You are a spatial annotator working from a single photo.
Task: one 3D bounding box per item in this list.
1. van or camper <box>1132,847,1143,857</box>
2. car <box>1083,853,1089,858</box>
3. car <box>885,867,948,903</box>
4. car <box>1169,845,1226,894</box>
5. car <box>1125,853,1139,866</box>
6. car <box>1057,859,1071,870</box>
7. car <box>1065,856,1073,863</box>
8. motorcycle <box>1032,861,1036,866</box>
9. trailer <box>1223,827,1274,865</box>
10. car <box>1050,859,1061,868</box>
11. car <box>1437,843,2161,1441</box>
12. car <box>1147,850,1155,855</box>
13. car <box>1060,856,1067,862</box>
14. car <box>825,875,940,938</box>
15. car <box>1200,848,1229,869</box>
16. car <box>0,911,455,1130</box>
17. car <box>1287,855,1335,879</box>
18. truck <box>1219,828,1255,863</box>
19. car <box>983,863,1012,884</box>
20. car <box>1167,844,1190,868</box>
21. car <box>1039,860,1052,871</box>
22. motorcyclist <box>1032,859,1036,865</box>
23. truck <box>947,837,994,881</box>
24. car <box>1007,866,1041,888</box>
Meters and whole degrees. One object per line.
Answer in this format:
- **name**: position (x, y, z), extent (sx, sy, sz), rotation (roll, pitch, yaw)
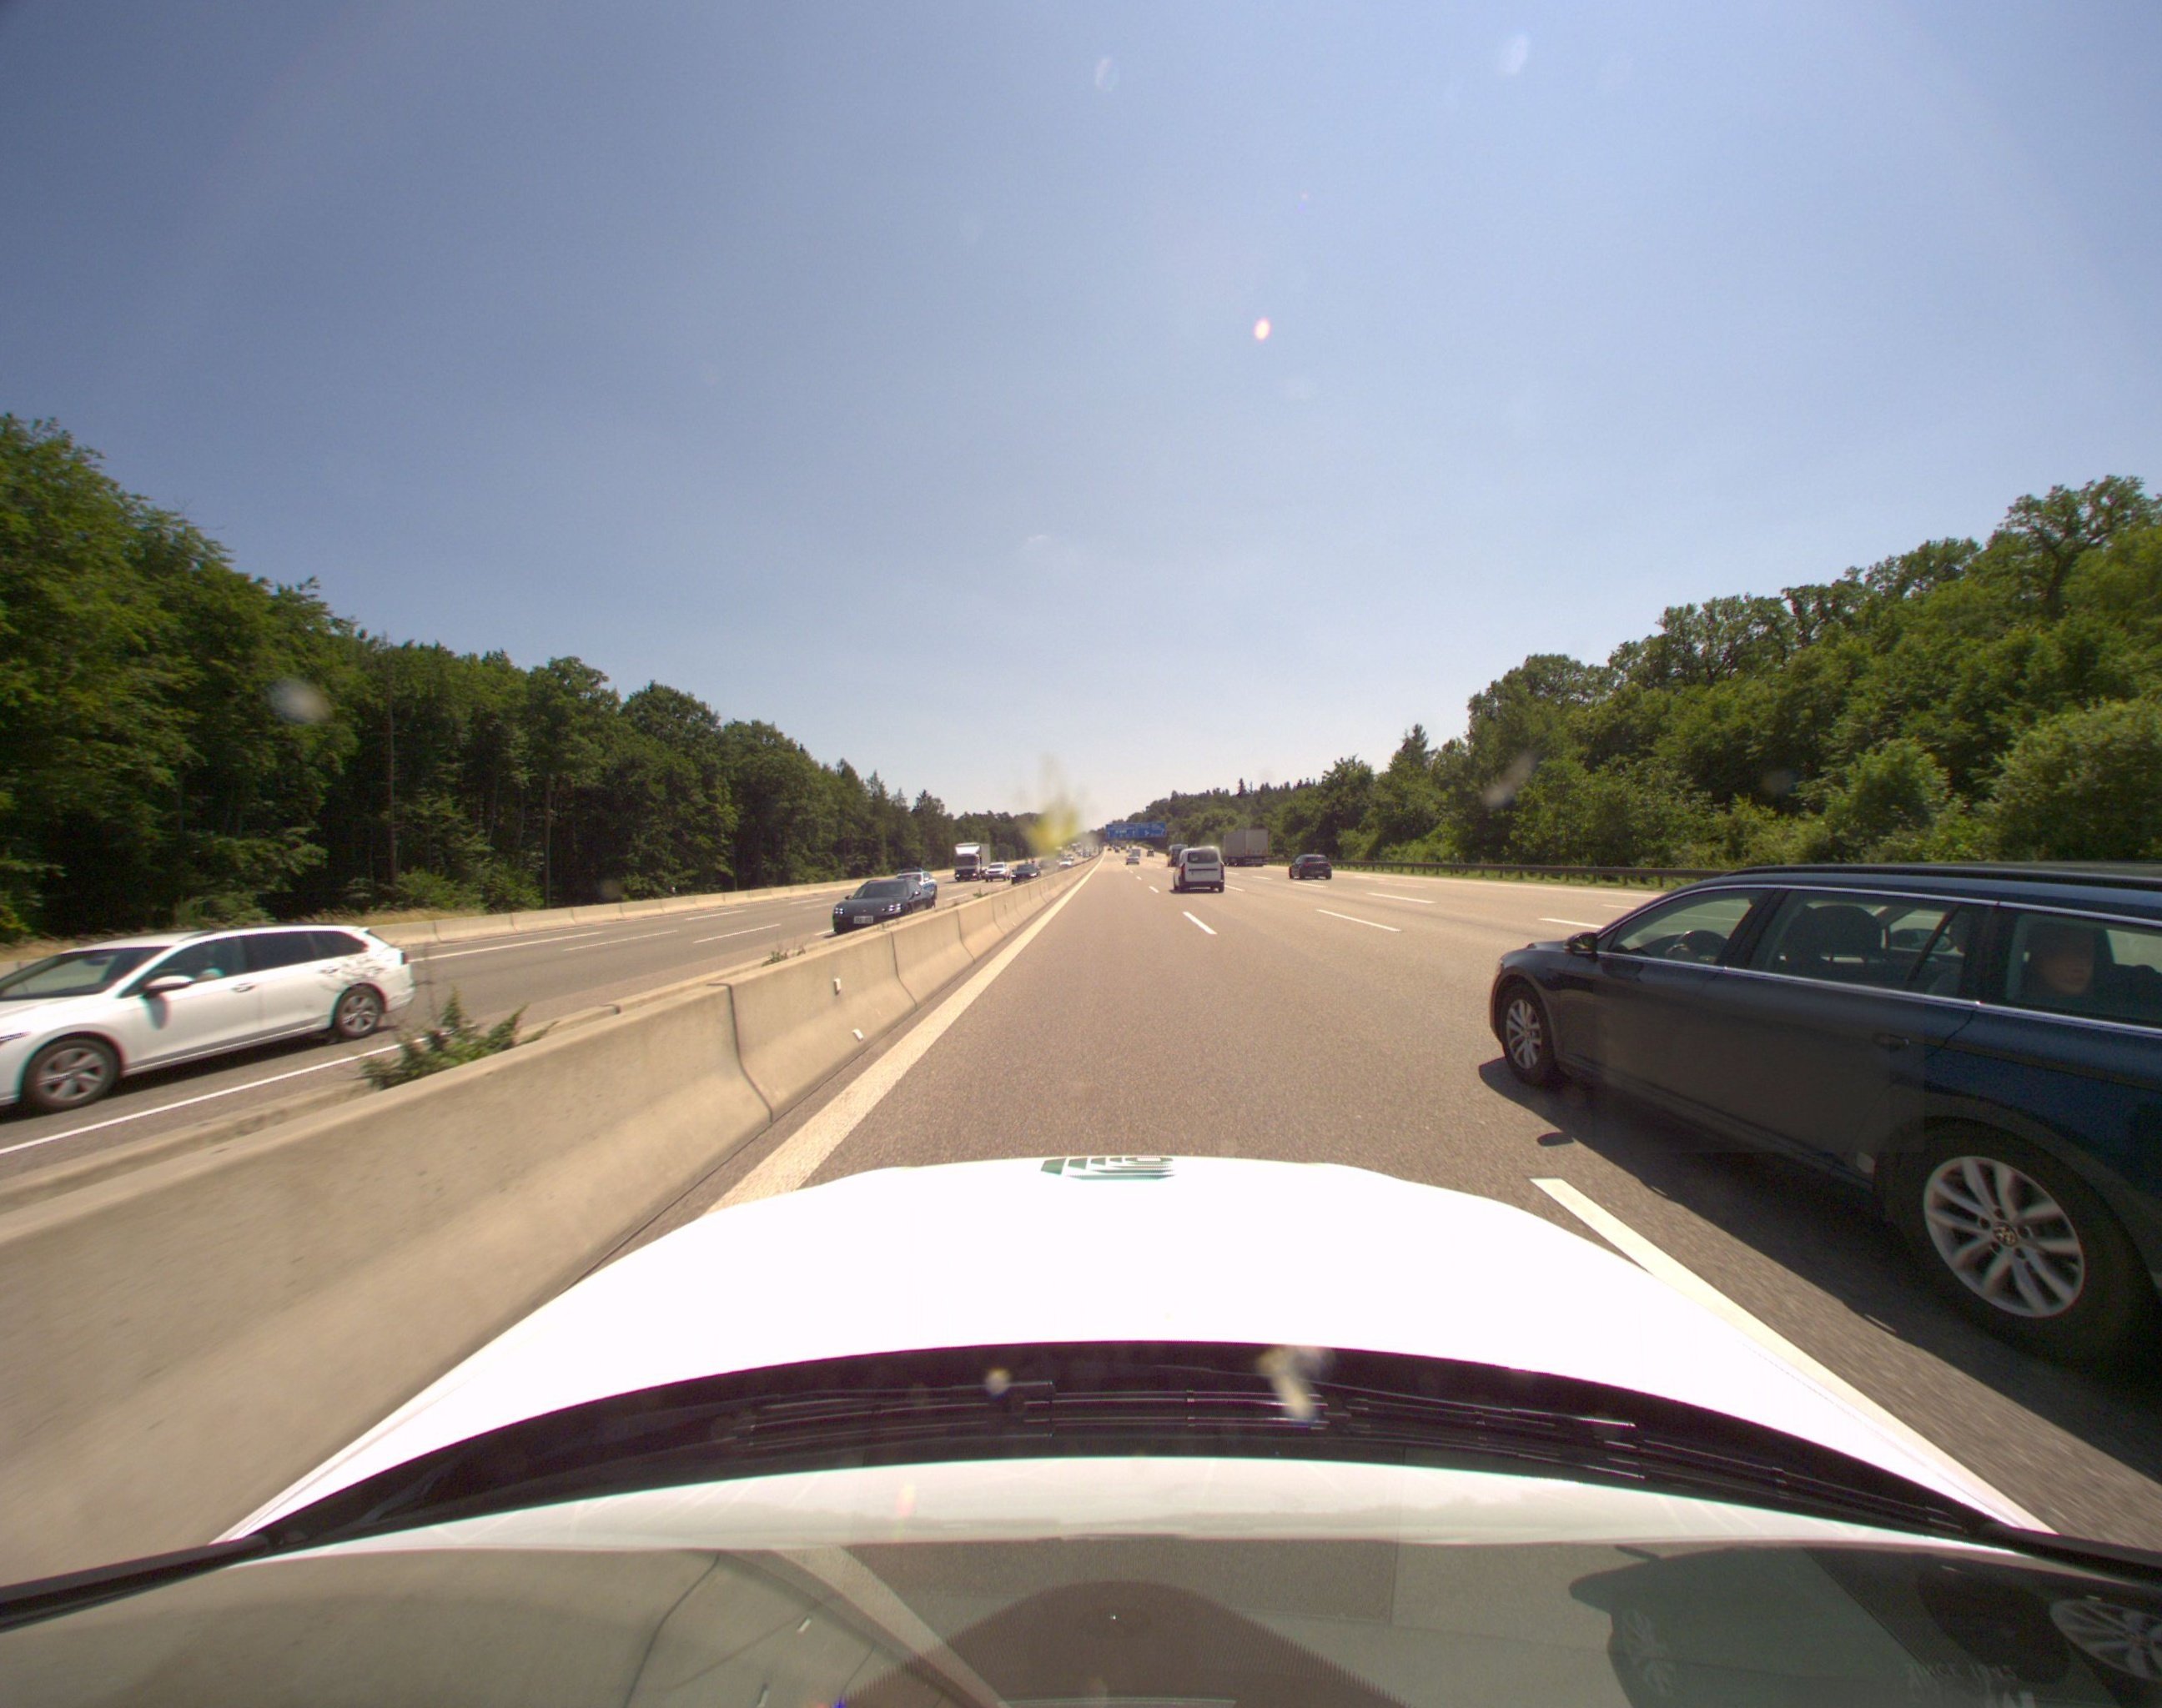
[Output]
- **van or camper**: position (15.474, -0.593, 223.791), extent (2.635, 2.539, 6.505), rotation (-3, 0, 2)
- **car**: position (1.574, 0.522, 249.460), extent (1.745, 1.377, 4.493), rotation (-1, 0, 2)
- **car**: position (-8.309, 1.545, 41.703), extent (1.906, 1.512, 5.234), rotation (-4, 0, 2)
- **car**: position (4.822, 0.628, 34.233), extent (1.852, 1.826, 4.615), rotation (-3, 0, 3)
- **car**: position (7.281, 0.788, 117.318), extent (1.836, 1.629, 4.556), rotation (-3, -1, 3)
- **car**: position (-2.481, 1.475, 118.182), extent (1.818, 1.394, 4.464), rotation (-3, 0, 0)
- **car**: position (-2.963, 1.417, 205.564), extent (1.964, 1.724, 4.508), rotation (0, 0, 0)
- **motorcycle**: position (-10.917, 2.190, 189.281), extent (0.735, 1.214, 2.351), rotation (-3, -1, 2)
- **trailer**: position (18.671, -0.881, 91.855), extent (3.275, 3.930, 13.895), rotation (-1, 1, 1)
- **car**: position (-4.543, 1.672, 146.112), extent (1.566, 1.511, 4.031), rotation (-3, 0, 1)
- **car**: position (3.593, 0.699, 3.978), extent (1.722, 1.447, 4.964), rotation (-1, 0, 3)
- **car**: position (19.007, -0.396, 221.461), extent (1.828, 1.338, 3.644), rotation (-3, -1, 2)
- **car**: position (-5.303, 1.374, 244.096), extent (1.964, 1.724, 4.508), rotation (1, 0, 0)
- **car**: position (-5.420, 1.380, 22.859), extent (1.906, 1.464, 4.589), rotation (-3, -1, 2)
- **car**: position (9.872, 0.346, 60.547), extent (1.498, 1.500, 3.649), rotation (-3, -1, 0)
- **car**: position (-9.519, 1.538, 8.707), extent (1.754, 1.464, 4.841), rotation (-3, 0, 2)
- **car**: position (13.149, 0.738, 46.748), extent (1.664, 1.273, 4.292), rotation (-1, -1, 2)
- **truck**: position (18.831, -1.044, 98.595), extent (3.242, 4.106, 5.990), rotation (-1, 0, 2)
- **car**: position (-7.335, 1.673, 72.074), extent (1.906, 1.661, 4.691), rotation (-3, 0, 2)
- **car**: position (11.213, 0.192, 94.404), extent (2.135, 2.652, 5.712), rotation (-2, 0, 2)
- **car**: position (-5.250, 1.719, 121.446), extent (1.697, 1.427, 4.612), rotation (-3, 0, 0)
- **motorcyclist**: position (-10.966, 1.866, 189.390), extent (0.757, 1.301, 1.078), rotation (-3, 0, 2)
- **truck**: position (-10.850, 0.519, 80.900), extent (2.847, 4.013, 9.472), rotation (-3, 0, 2)
- **car**: position (-4.003, 1.598, 57.765), extent (1.906, 1.464, 4.365), rotation (-3, -1, 2)
